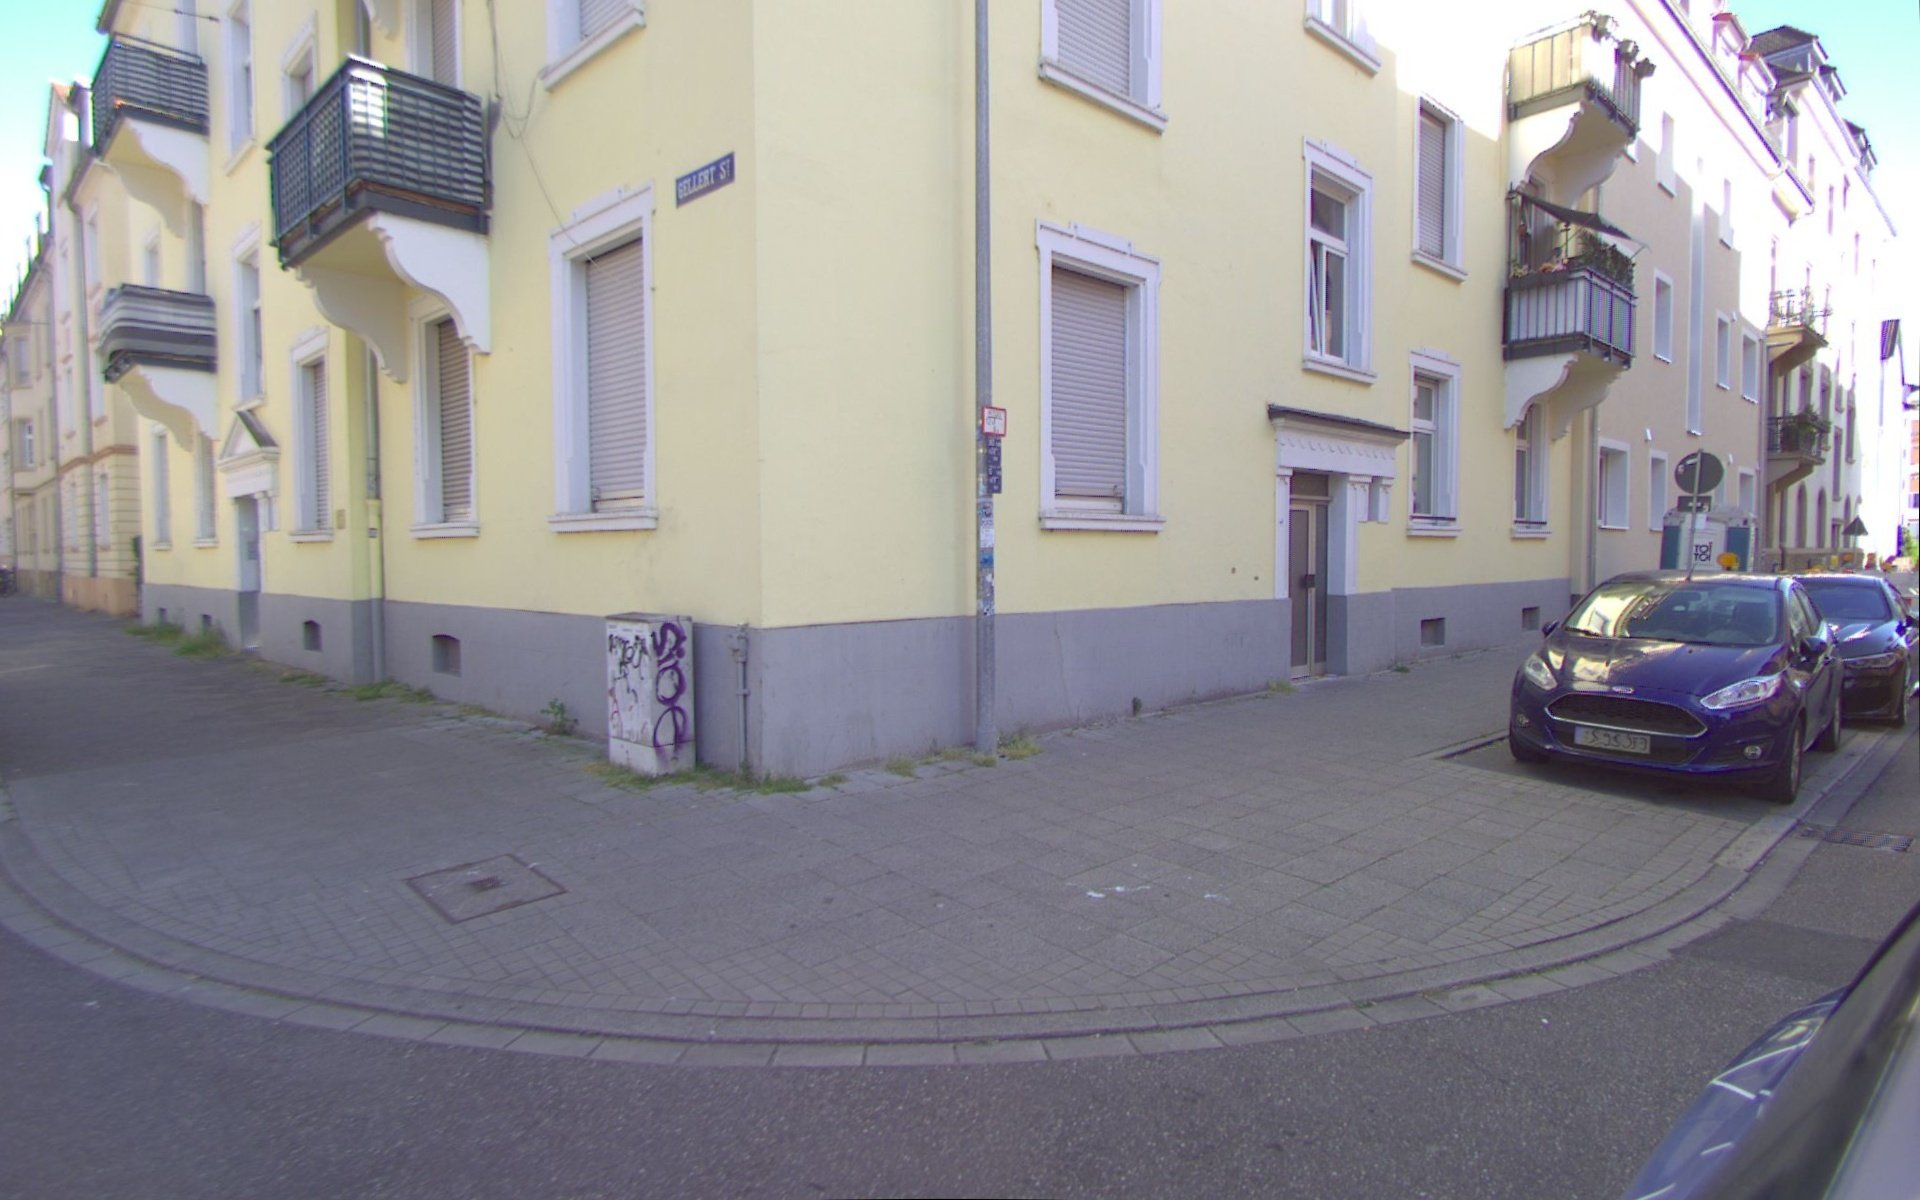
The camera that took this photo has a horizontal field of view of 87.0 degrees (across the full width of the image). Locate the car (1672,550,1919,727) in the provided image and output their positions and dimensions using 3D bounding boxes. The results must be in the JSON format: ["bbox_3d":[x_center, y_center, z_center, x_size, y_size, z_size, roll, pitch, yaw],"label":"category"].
[{"bbox_3d":[9.668,0.224,11.209,5.025,1.488,1.804,-3,6,-42],"label":"car"}]

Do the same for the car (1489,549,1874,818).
[{"bbox_3d":[5.769,0.386,7.889,1.764,1.488,4.020,5,6,44],"label":"car"}]
